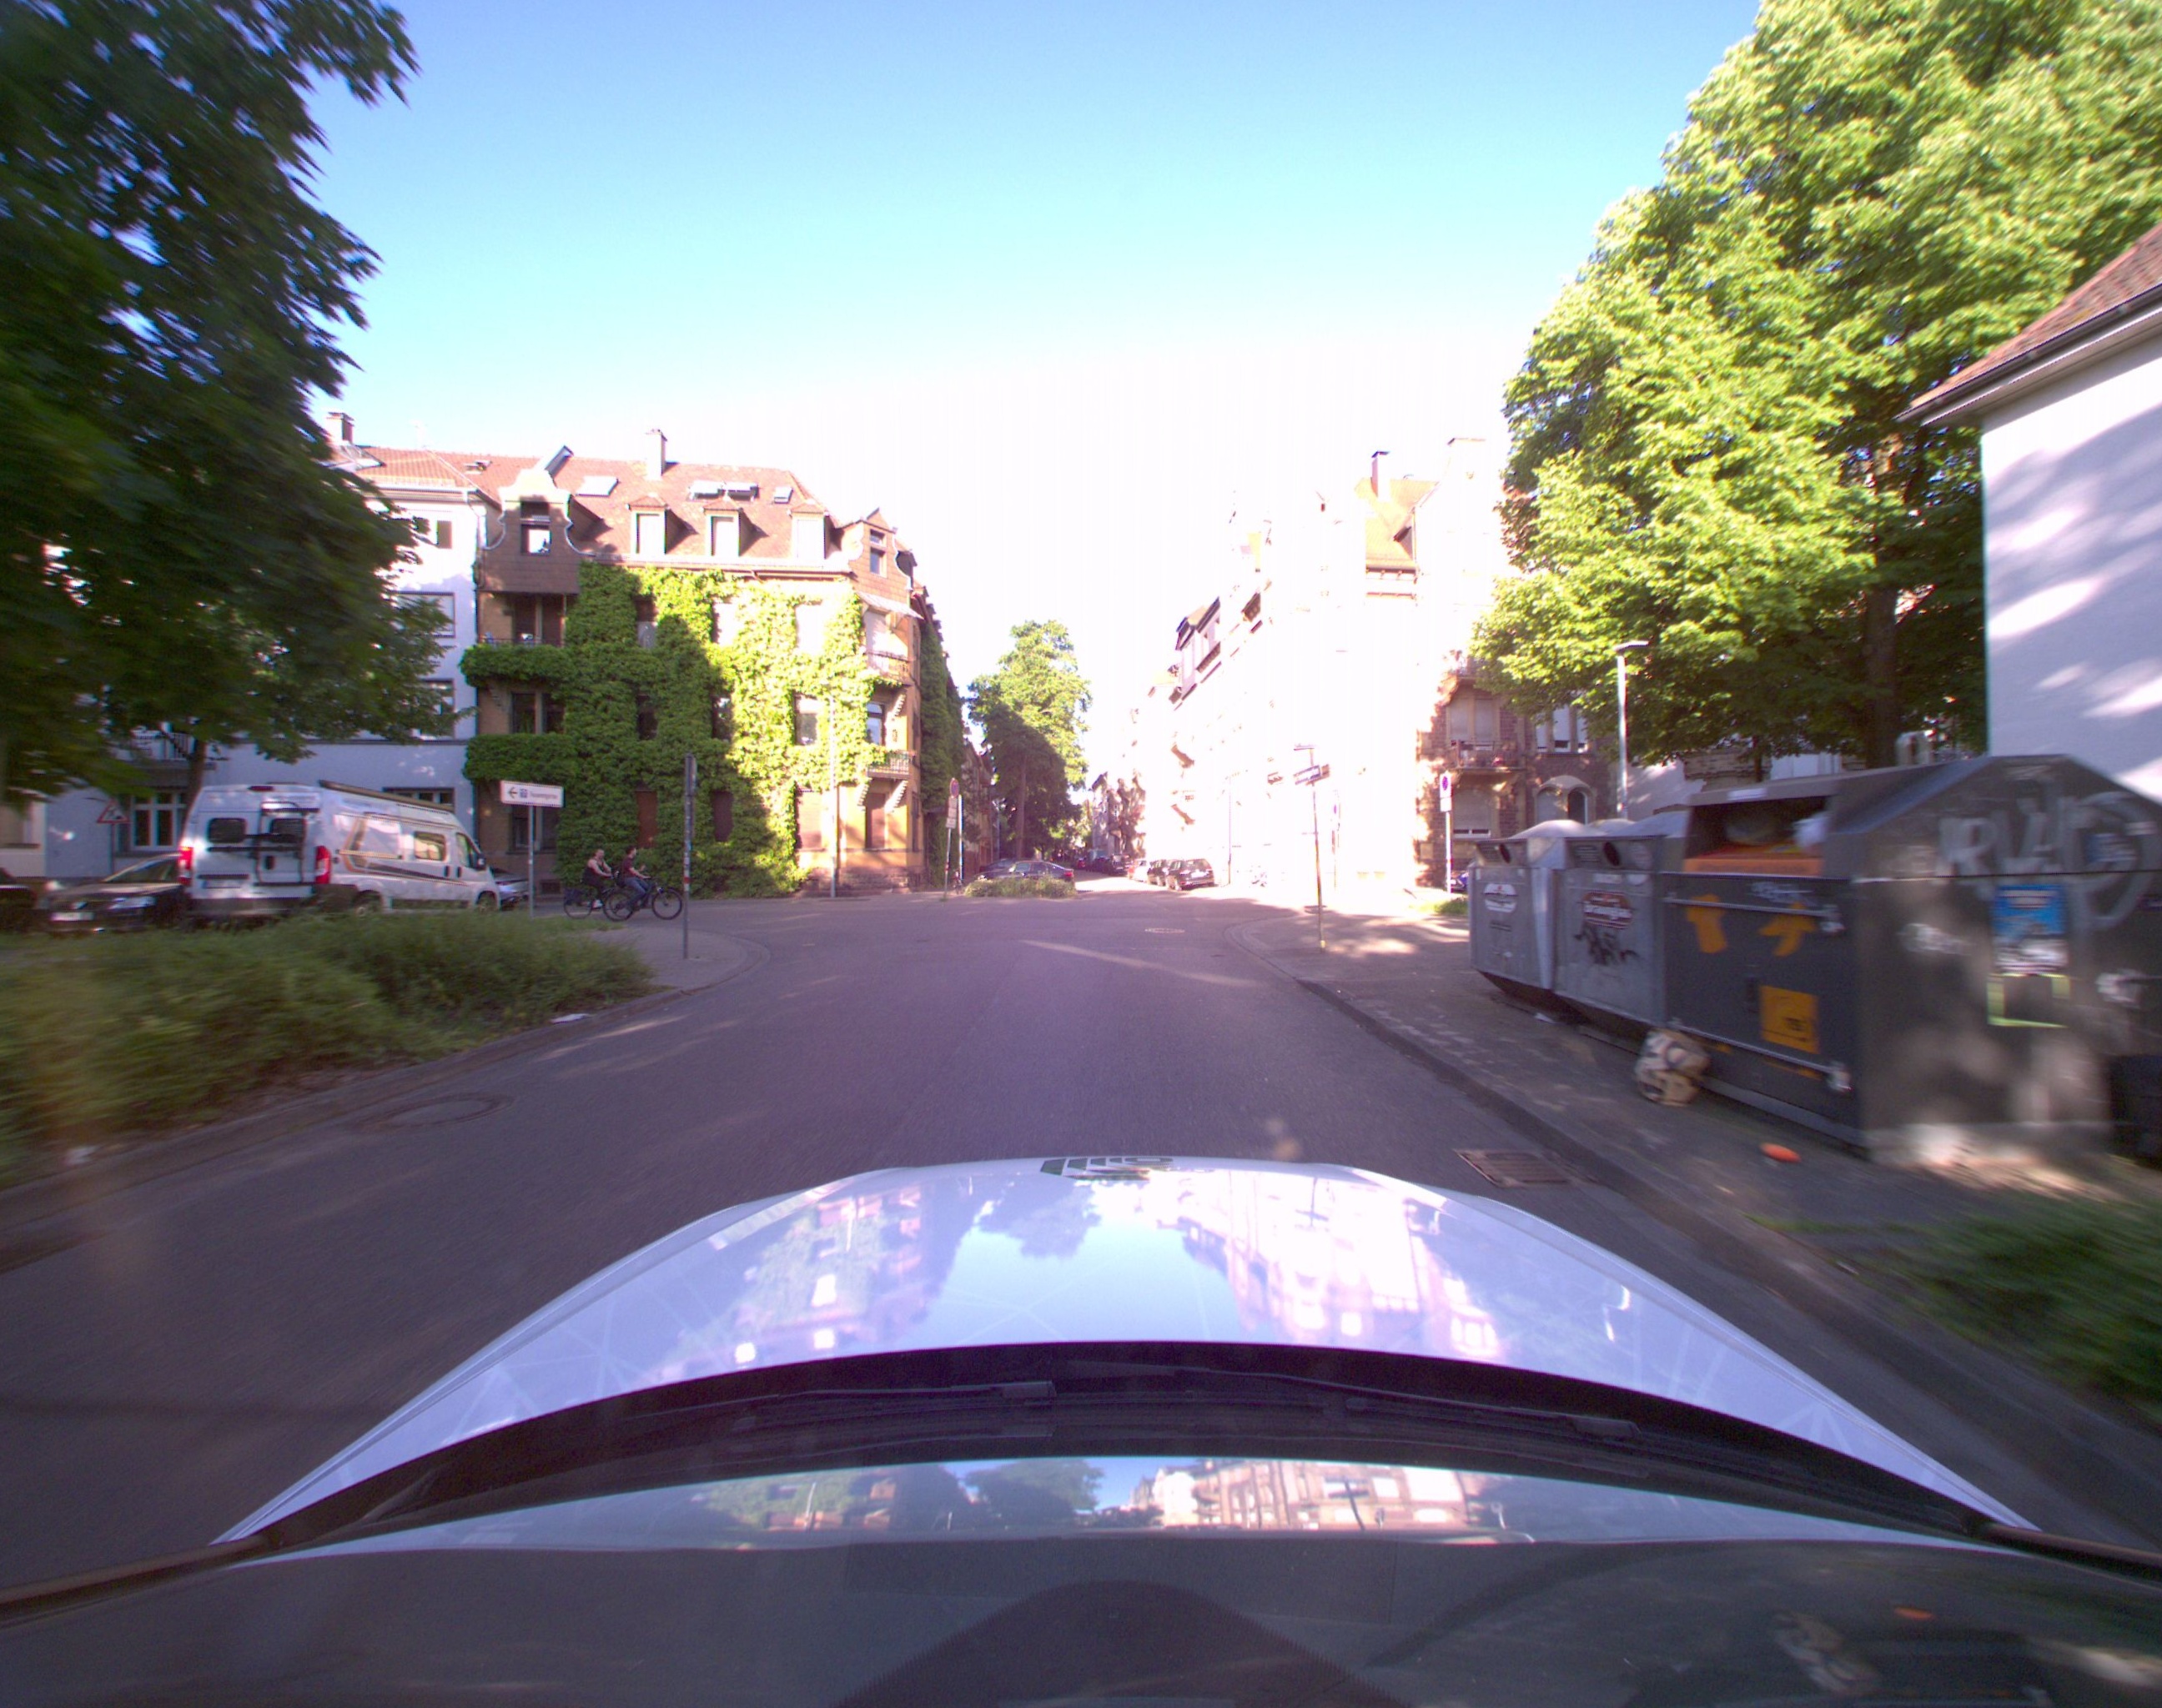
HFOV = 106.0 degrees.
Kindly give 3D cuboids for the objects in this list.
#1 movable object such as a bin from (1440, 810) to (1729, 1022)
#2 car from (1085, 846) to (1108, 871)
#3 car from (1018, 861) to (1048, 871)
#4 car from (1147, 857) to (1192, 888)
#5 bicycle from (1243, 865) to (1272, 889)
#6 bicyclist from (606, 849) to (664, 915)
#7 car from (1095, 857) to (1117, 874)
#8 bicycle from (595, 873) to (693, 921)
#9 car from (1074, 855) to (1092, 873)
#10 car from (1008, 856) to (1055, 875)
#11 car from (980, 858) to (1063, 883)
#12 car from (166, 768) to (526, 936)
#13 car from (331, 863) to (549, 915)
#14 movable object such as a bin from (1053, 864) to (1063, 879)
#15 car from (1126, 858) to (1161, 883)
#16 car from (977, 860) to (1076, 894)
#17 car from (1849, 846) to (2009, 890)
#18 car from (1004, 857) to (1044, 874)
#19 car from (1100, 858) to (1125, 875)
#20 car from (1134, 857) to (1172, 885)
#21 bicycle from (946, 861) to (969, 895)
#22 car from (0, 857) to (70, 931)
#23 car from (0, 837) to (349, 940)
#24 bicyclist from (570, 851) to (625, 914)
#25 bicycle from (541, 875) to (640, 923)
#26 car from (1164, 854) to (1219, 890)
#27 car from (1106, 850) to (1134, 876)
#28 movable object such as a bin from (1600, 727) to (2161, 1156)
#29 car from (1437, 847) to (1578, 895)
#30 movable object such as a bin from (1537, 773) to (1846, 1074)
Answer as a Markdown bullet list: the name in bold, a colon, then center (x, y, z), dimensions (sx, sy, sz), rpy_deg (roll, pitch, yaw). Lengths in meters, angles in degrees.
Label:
- **movable object such as a bin**: center (4.321, 0.495, 7.228), dimensions (1.580, 1.657, 1.640), rpy_deg (1, -1, 1)
- **car**: center (1.675, 0.547, 91.898), dimensions (2.162, 2.691, 4.784), rpy_deg (1, -1, -4)
- **car**: center (-6.131, 1.557, 103.877), dimensions (3.796, 1.240, 1.706), rpy_deg (1, -1, -6)
- **car**: center (4.721, 0.998, 44.055), dimensions (1.734, 1.581, 3.994), rpy_deg (1, -1, -4)
- **bicycle**: center (7.454, 0.960, 34.410), dimensions (0.515, 0.998, 1.567), rpy_deg (1, -1, -16)
- **bicyclist**: center (-10.542, 0.655, 19.271), dimensions (0.968, 1.527, 0.719), rpy_deg (1, -1, -7)
- **car**: center (2.504, 1.138, 81.520), dimensions (1.799, 1.679, 3.994), rpy_deg (1, -1, -4)
- **bicycle**: center (-10.350, 1.018, 19.328), dimensions (1.960, 1.072, 0.556), rpy_deg (1, 2, -8)
- **car**: center (0.252, 1.345, 108.949), dimensions (2.162, 2.237, 4.784), rpy_deg (1, -1, -4)
- **car**: center (-4.109, 0.956, 67.954), dimensions (3.799, 1.575, 1.705), rpy_deg (1, -1, -8)
- **car**: center (-3.565, 0.994, 48.442), dimensions (4.828, 1.435, 1.706), rpy_deg (1, -1, -6)
- **car**: center (-13.430, 0.004, 15.610), dimensions (2.229, 2.614, 5.617), rpy_deg (1, -1, -7)
- **car**: center (-19.480, 1.032, 24.960), dimensions (4.905, 1.404, 1.879), rpy_deg (-1, 1, -7)
- **movable object such as a bin**: center (-1.699, 1.273, 59.884), dimensions (0.629, 1.053, 0.566), rpy_deg (1, -1, -10)
- **car**: center (4.093, 1.059, 54.046), dimensions (1.734, 1.581, 3.994), rpy_deg (1, -1, -4)
- **car**: center (-2.441, 1.004, 36.210), dimensions (4.237, 1.435, 1.996), rpy_deg (1, -1, -6)
- **car**: center (32.440, 0.540, 31.211), dimensions (4.686, 1.574, 1.732), rpy_deg (1, -1, -6)
- **car**: center (-5.456, 1.085, 77.860), dimensions (3.796, 1.575, 1.706), rpy_deg (1, -1, -6)
- **car**: center (2.866, 1.180, 74.845), dimensions (1.799, 1.514, 3.994), rpy_deg (1, -1, -4)
- **car**: center (4.326, 1.016, 49.435), dimensions (1.734, 1.581, 3.994), rpy_deg (1, -1, -4)
- **bicycle**: center (-4.810, 0.919, 31.854), dimensions (0.560, 1.268, 1.604), rpy_deg (-1, 0, 3)
- **car**: center (-20.693, 0.716, 14.000), dimensions (1.970, 1.342, 3.871), rpy_deg (1, -1, -7)
- **car**: center (-16.034, 0.555, 14.750), dimensions (1.970, 1.575, 4.289), rpy_deg (1, -1, -7)
- **bicyclist**: center (-12.011, 0.696, 20.250), dimensions (0.970, 1.527, 0.705), rpy_deg (1, -1, -13)
- **bicycle**: center (-12.137, 1.098, 20.205), dimensions (1.964, 1.073, 0.695), rpy_deg (-2, 0, -12)
- **car**: center (5.061, 0.820, 37.756), dimensions (1.734, 1.581, 3.994), rpy_deg (1, -1, -4)
- **car**: center (3.171, 0.740, 66.454), dimensions (1.799, 2.004, 3.994), rpy_deg (1, -1, -4)
- **movable object such as a bin**: center (4.095, 0.387, 4.249), dimensions (1.914, 1.853, 1.394), rpy_deg (1, -1, 1)
- **car**: center (15.072, 0.589, 28.886), dimensions (4.243, 1.622, 1.730), rpy_deg (1, 0, -9)
- **movable object such as a bin**: center (4.124, 0.430, 5.682), dimensions (1.143, 1.827, 1.386), rpy_deg (1, -1, 1)
